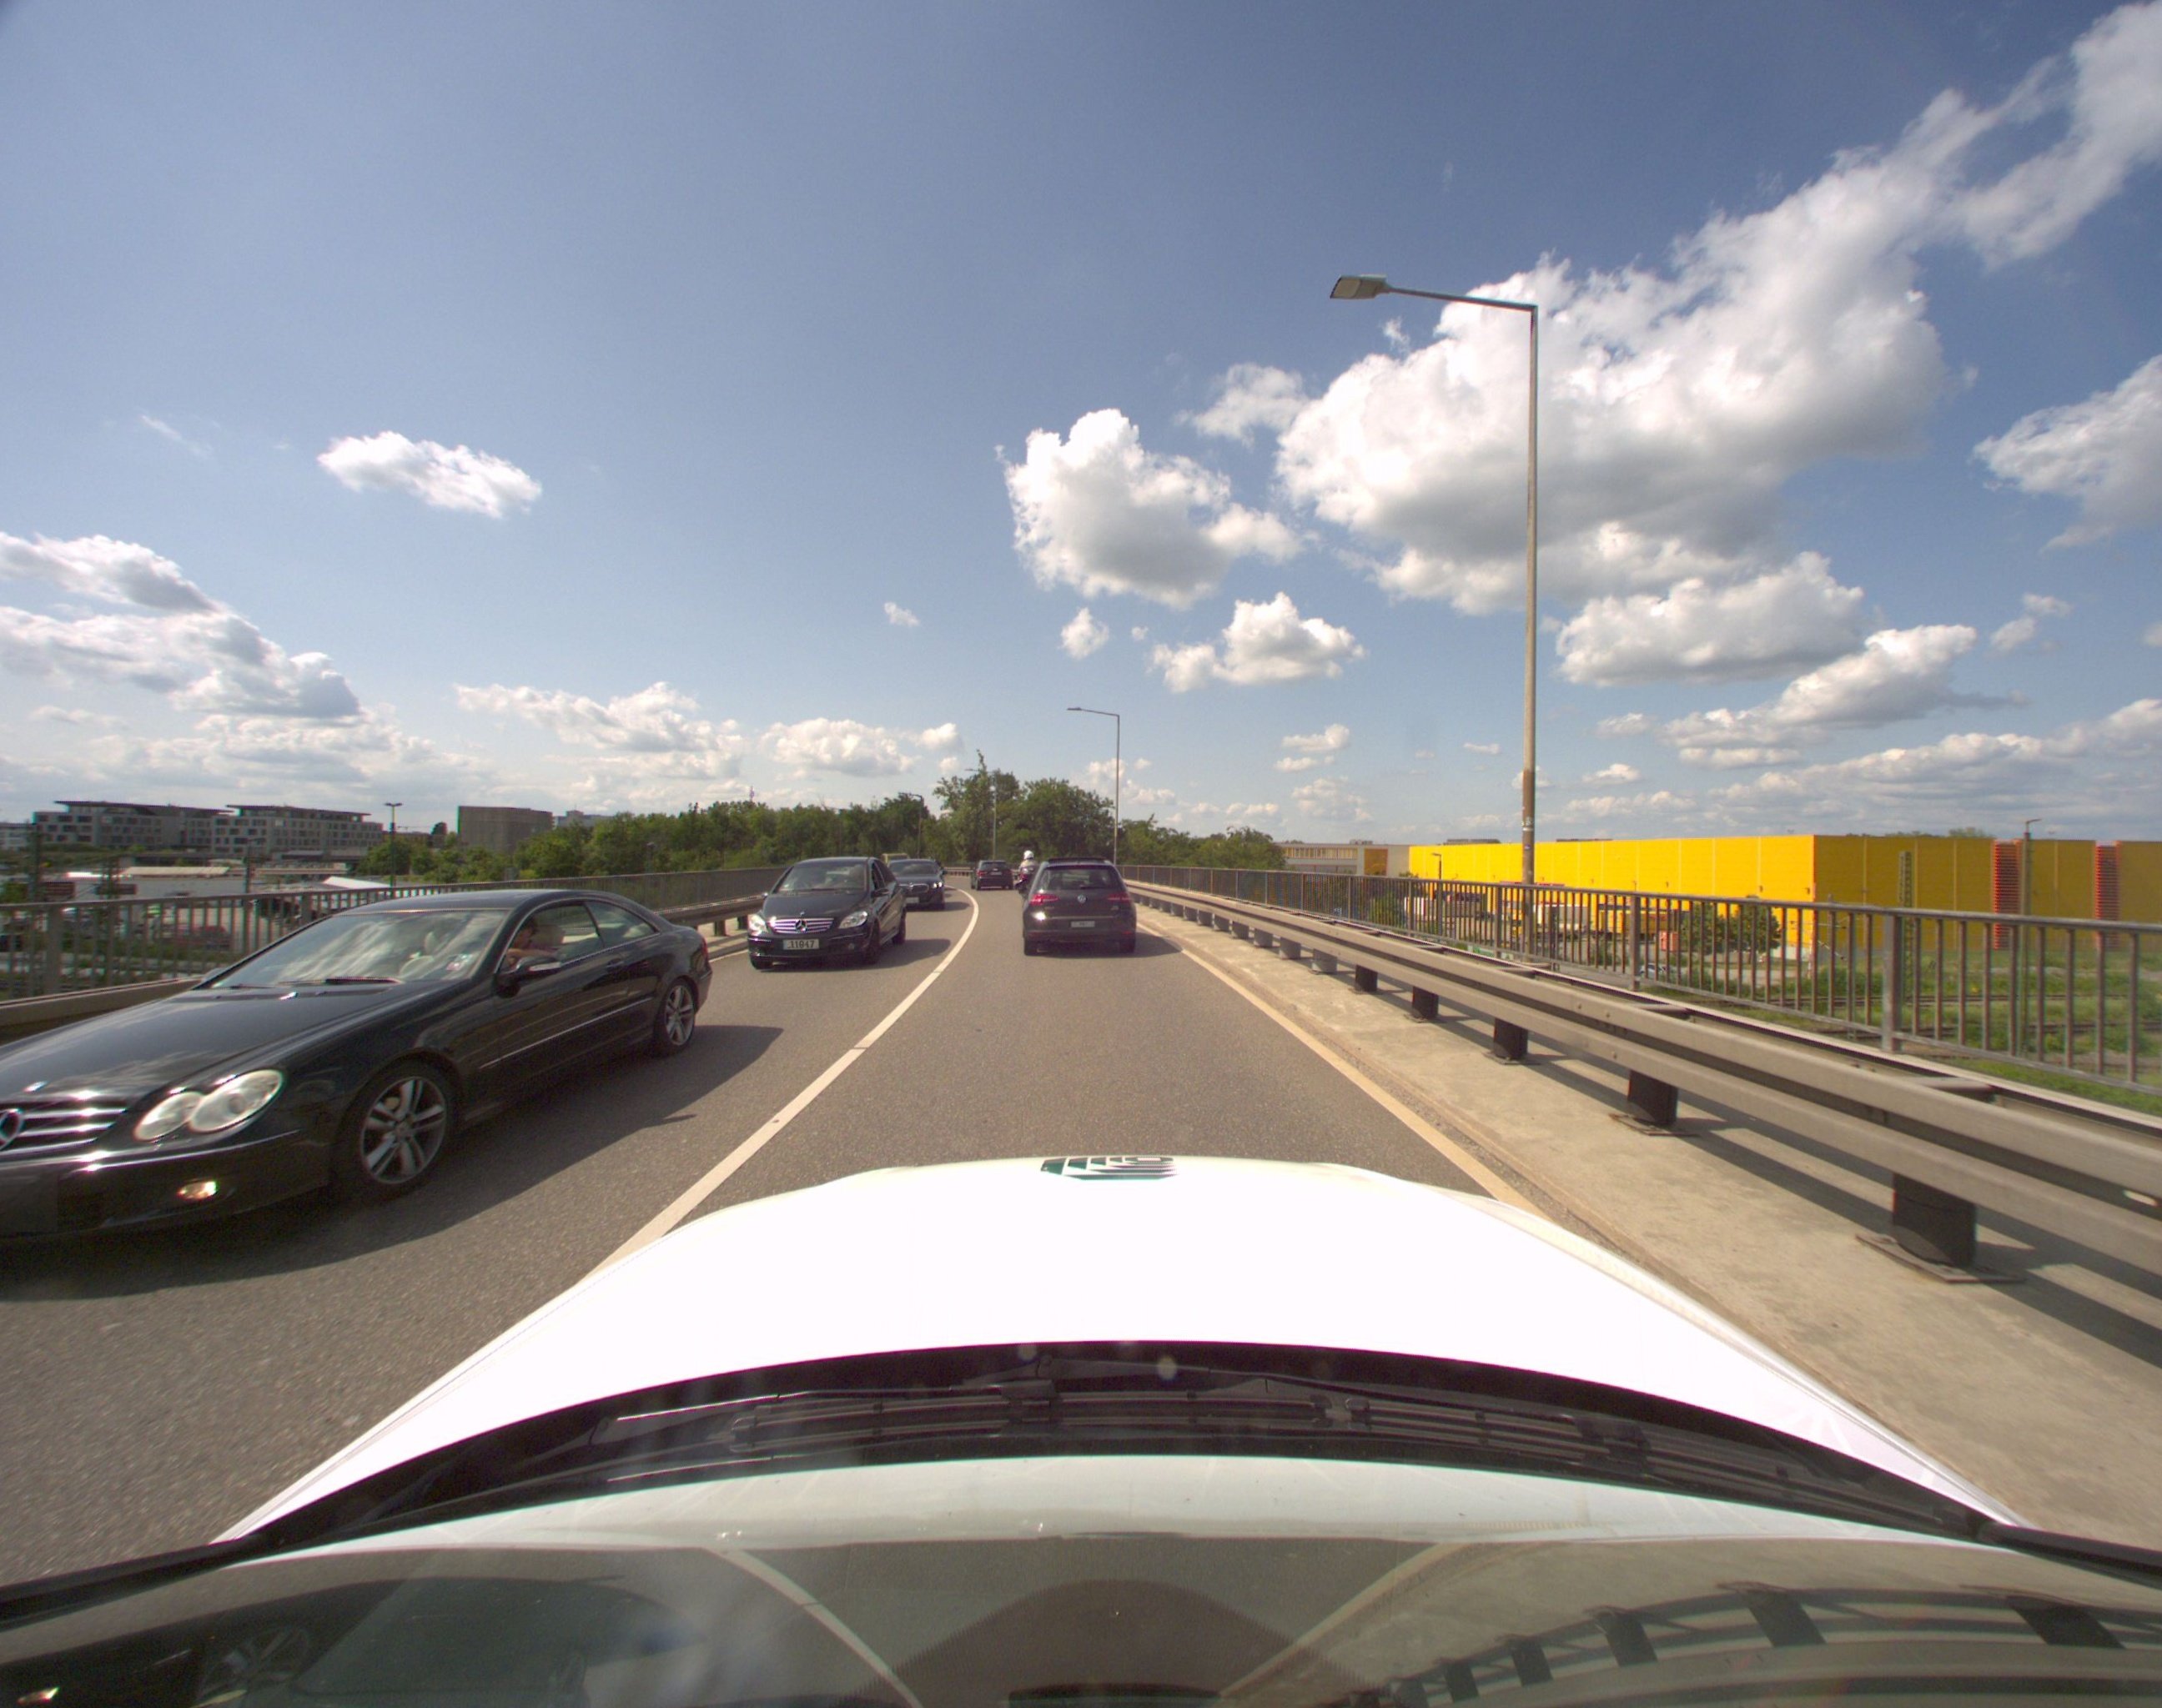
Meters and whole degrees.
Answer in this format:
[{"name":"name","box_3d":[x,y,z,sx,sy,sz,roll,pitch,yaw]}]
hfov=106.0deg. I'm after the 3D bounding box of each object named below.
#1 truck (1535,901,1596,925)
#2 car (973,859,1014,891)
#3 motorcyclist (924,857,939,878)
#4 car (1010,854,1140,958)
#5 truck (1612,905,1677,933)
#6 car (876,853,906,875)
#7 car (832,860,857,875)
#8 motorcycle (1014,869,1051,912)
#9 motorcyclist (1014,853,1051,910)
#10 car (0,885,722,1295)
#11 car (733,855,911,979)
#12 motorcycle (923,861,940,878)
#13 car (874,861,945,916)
[{"name":"truck","box_3d":[71.835,8.766,120.814,7.628,3.189,2.685,2,-2,-4]},{"name":"car","box_3d":[-4.183,1.002,38.631,1.682,1.388,3.726,-1,-1,-10]},{"name":"motorcyclist","box_3d":[-11.374,1.016,61.789,0.969,1.596,1.118,0,0,-18]},{"name":"car","box_3d":[-0.238,0.772,13.772,1.642,1.479,3.860,-1,-1,-9]},{"name":"truck","box_3d":[73.168,8.440,105.790,6.992,3.189,2.572,2,-2,-4]},{"name":"car","box_3d":[-13.372,0.685,57.078,1.880,1.401,3.866,-2,0,-15]},{"name":"car","box_3d":[-25.783,1.487,88.598,1.825,1.487,3.963,-2,0,-28]},{"name":"motorcycle","box_3d":[-1.429,1.038,23.620,0.789,1.132,2.391,-1,0,-10]},{"name":"motorcyclist","box_3d":[-1.441,0.793,23.849,0.966,1.620,1.121,0,0,-10]},{"name":"car","box_3d":[-3.992,0.961,5.105,1.627,1.345,4.250,-3,-1,-1]},{"name":"car","box_3d":[-3.928,0.846,13.112,1.680,1.596,4.277,-2,0,-4]},{"name":"motorcycle","box_3d":[-11.366,1.187,61.759,0.890,1.247,2.383,-1,0,-19]},{"name":"car","box_3d":[-5.066,0.956,24.391,1.877,1.442,3.872,-2,0,-10]}]
